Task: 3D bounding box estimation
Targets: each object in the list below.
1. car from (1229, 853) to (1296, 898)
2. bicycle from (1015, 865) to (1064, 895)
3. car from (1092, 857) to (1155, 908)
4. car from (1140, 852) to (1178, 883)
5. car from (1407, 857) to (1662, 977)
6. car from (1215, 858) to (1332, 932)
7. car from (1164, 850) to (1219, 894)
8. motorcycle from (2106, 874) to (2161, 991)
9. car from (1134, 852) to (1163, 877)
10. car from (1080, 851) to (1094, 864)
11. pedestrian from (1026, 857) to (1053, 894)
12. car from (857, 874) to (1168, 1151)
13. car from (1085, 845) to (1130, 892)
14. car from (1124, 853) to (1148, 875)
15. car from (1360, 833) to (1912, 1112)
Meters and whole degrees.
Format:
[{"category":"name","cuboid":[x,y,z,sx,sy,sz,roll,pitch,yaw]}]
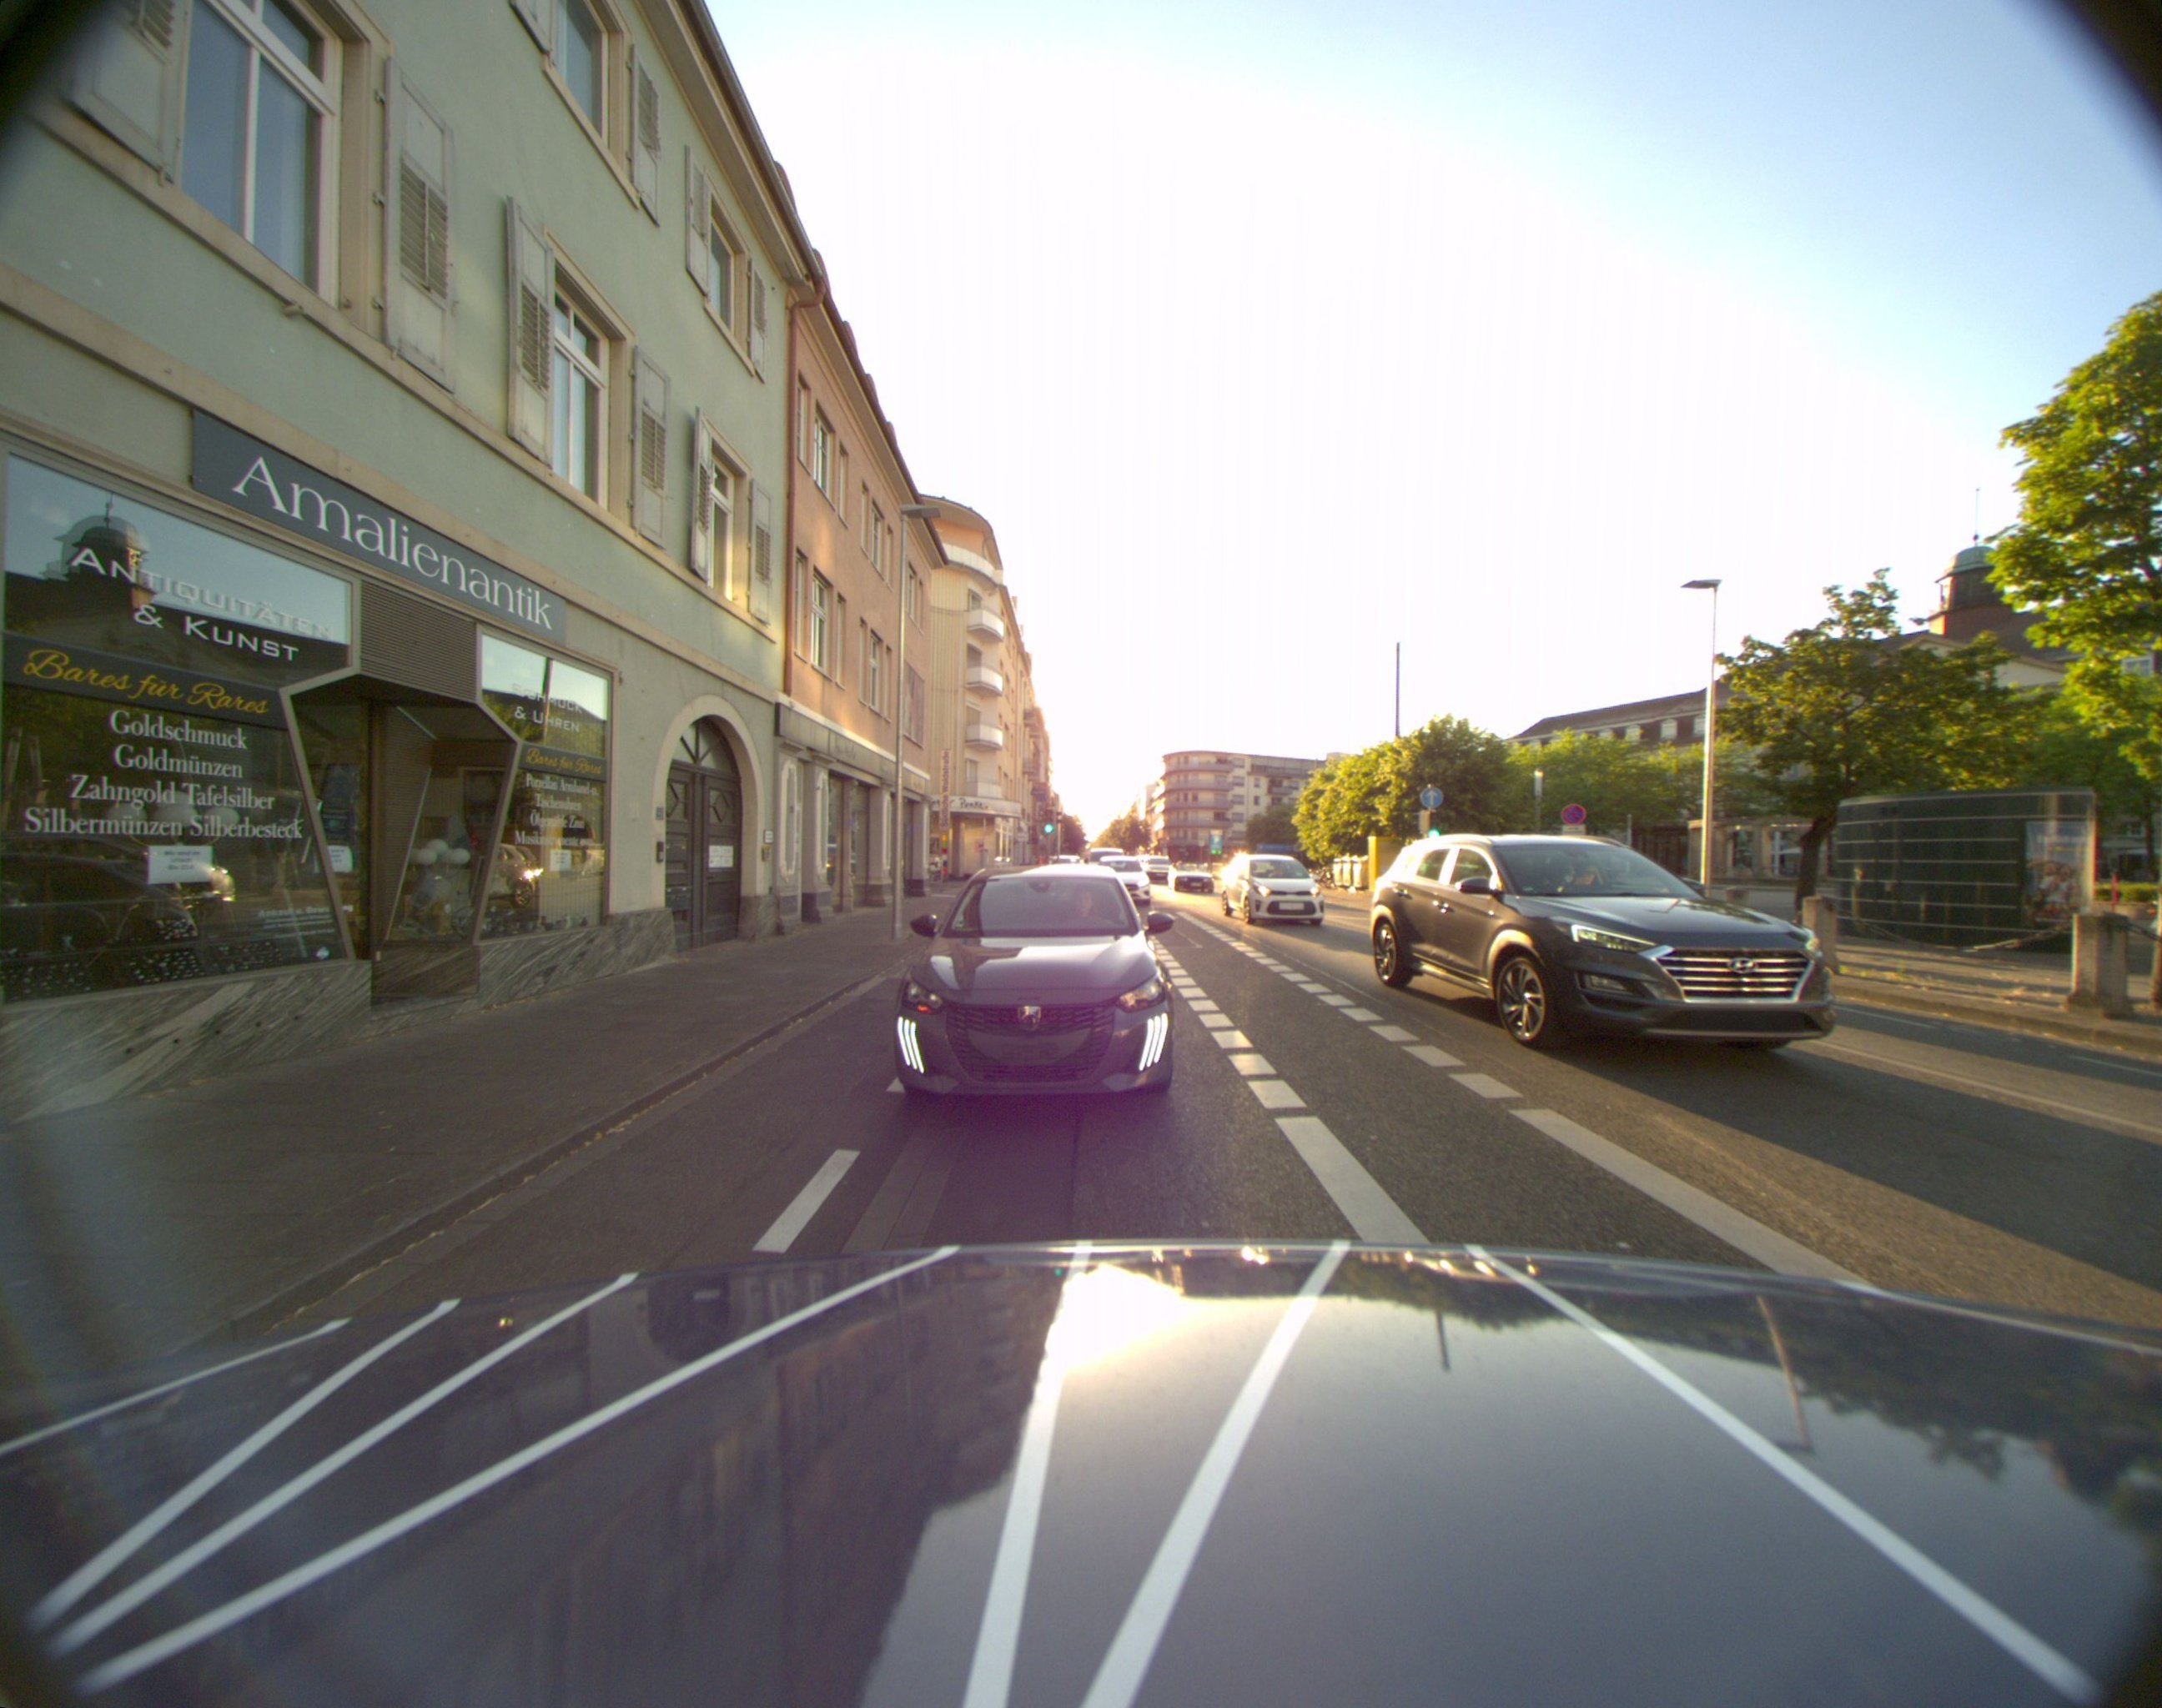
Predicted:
[{"category":"car","cuboid":[7.607,0.861,32.184,1.827,1.688,3.985,4,0,1]},{"category":"bicycle","cuboid":[-1.517,0.952,28.007,1.702,1.051,0.563,1,0,11]},{"category":"car","cuboid":[1.265,0.837,24.103,1.827,1.463,3.985,0,0,1]},{"category":"car","cuboid":[4.692,0.801,46.167,1.827,1.730,3.985,2,0,1]},{"category":"car","cuboid":[7.417,0.924,12.994,1.827,1.572,3.999,4,0,-1]},{"category":"car","cuboid":[4.291,0.851,17.531,1.718,1.463,3.985,1,0,1]},{"category":"car","cuboid":[4.833,0.746,33.597,1.827,1.730,3.985,2,0,1]},{"category":"motorcycle","cuboid":[14.628,1.003,9.597,2.399,1.437,0.700,1,0,-1]},{"category":"car","cuboid":[4.820,0.750,55.078,1.880,1.761,4.001,1,0,2]},{"category":"car","cuboid":[0.850,0.512,112.607,1.998,2.002,4.000,1,0,0]},{"category":"pedestrian","cuboid":[-1.523,0.781,28.019,0.858,1.343,0.563,1,0,11]},{"category":"car","cuboid":[-0.280,0.934,6.207,1.750,1.434,3.907,0,0,3]},{"category":"car","cuboid":[1.149,0.625,34.386,1.827,1.918,3.985,2,0,1]},{"category":"car","cuboid":[4.519,0.802,62.954,1.880,1.761,4.001,1,0,2]},{"category":"car","cuboid":[4.191,0.733,6.800,1.827,1.688,4.259,1,0,1]}]
